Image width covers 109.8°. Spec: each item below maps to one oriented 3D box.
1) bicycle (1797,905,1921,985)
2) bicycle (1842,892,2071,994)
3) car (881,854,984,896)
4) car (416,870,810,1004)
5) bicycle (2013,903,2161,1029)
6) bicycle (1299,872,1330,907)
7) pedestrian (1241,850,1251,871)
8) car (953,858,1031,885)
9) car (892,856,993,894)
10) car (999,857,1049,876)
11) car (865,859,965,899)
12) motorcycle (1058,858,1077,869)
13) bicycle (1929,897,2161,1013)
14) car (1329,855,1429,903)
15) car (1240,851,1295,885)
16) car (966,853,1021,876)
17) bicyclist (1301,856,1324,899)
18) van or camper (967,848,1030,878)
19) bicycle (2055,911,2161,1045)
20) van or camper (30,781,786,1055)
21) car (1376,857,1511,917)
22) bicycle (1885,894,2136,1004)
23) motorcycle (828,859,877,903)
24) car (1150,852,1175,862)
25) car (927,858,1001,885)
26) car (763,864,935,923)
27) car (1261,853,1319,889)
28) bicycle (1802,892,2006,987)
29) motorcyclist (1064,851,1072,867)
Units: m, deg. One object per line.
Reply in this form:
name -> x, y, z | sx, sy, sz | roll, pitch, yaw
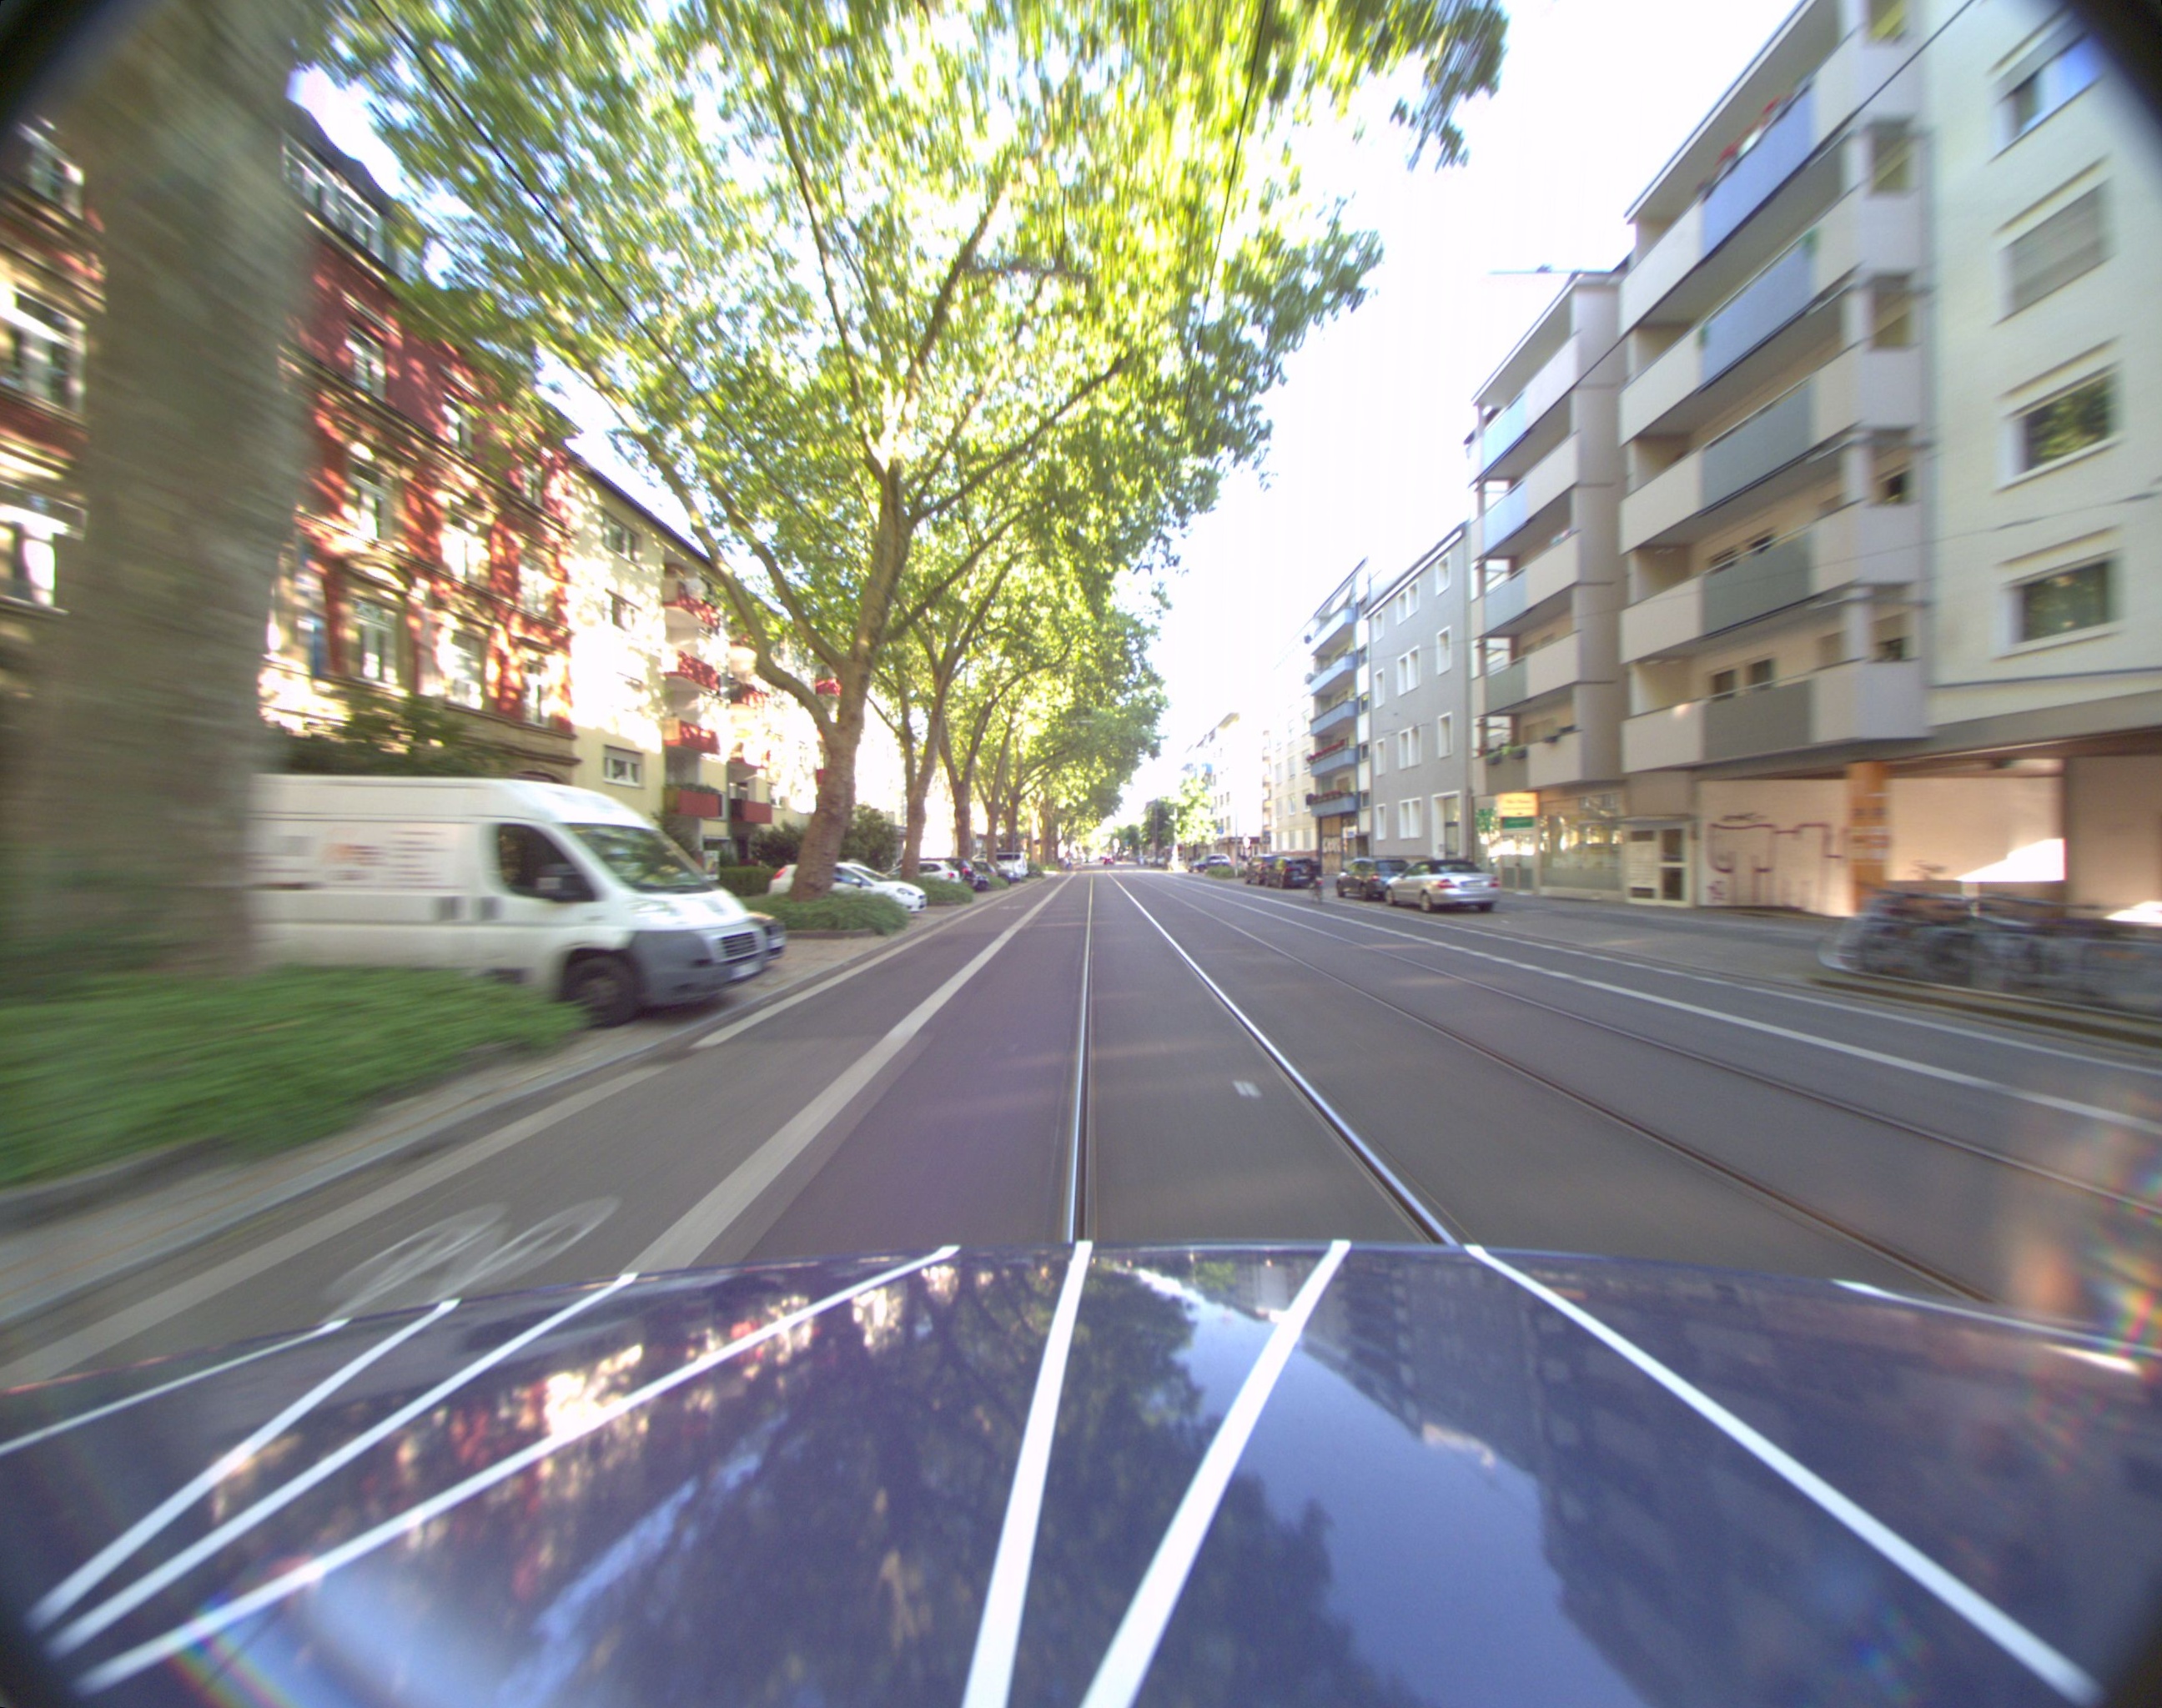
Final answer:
bicycle -> 10.344, 1.184, 10.103 | 1.624, 0.911, 0.401 | -2, 1, -15
bicycle -> 10.190, 1.034, 8.885 | 1.934, 1.112, 0.440 | -2, 1, 8
car -> -6.327, 0.878, 32.632 | 4.003, 1.734, 1.805 | -1, 0, 1
car -> -6.384, 1.095, 10.731 | 4.399, 1.543, 1.783 | -2, 1, 1
bicycle -> 10.095, 1.045, 7.174 | 1.822, 1.112, 0.425 | -2, 1, 8
bicycle -> 7.583, 1.140, 24.725 | 0.418, 1.012, 1.947 | 1, 0, 1
pedestrian -> 14.904, 0.559, 68.787 | 0.773, 1.888, 0.799 | -2, 1, 9
car -> -5.022, 0.975, 43.239 | 4.206, 1.473, 1.912 | 0, 0, 2
car -> -6.329, 0.932, 35.047 | 4.302, 1.643, 1.743 | -1, 0, -2
car -> -4.370, 0.952, 58.474 | 3.570, 1.431, 1.727 | -1, 1, 4
car -> -6.531, 0.981, 30.156 | 3.618, 1.486, 1.660 | -1, 0, -1
motorcycle -> -1.354, 0.965, 76.437 | 1.832, 1.112, 0.590 | -1, 1, -7
bicycle -> 10.114, 1.042, 7.860 | 1.972, 1.112, 0.425 | -2, 1, 8
car -> 10.271, 0.814, 26.541 | 1.798, 1.482, 4.240 | -1, 0, 0
car -> 10.283, 0.723, 42.196 | 1.784, 1.728, 4.489 | -2, 0, -1
car -> -5.975, 0.726, 52.052 | 3.572, 1.522, 1.677 | -1, 1, -1
bicyclist -> 7.562, 0.758, 24.799 | 0.510, 1.386, 0.709 | 1, 1, 1
van or camper -> -5.932, 0.638, 54.789 | 4.388, 2.097, 1.838 | 0, 1, -2
bicycle -> 9.895, 1.079, 6.710 | 1.792, 1.112, 0.425 | -2, 1, 8
van or camper -> -6.550, 0.585, 7.982 | 6.047, 2.476, 2.107 | 0, 1, 0
car -> 10.079, 0.845, 21.574 | 1.693, 1.482, 4.728 | -1, 0, 2
bicycle -> 10.156, 1.038, 8.346 | 1.964, 1.112, 0.440 | -2, 1, 8
motorcycle -> -8.226, 0.938, 27.492 | 0.842, 1.470, 2.818 | 0, 0, 1
car -> 12.818, 0.450, 119.852 | 3.953, 1.515, 1.587 | -1, 0, 5
car -> -6.280, 0.944, 41.107 | 3.837, 1.435, 1.699 | 0, 1, -4
car -> -6.018, 1.005, 20.004 | 3.963, 1.471, 1.688 | 0, 1, 2
car -> 10.163, 0.804, 37.262 | 1.660, 1.591, 4.202 | -2, 0, 0
bicycle -> 10.263, 1.064, 9.515 | 1.897, 1.112, 0.402 | -2, 1, 8
motorcyclist -> -1.328, 0.526, 76.431 | 0.756, 1.609, 0.588 | -1, 1, -6
